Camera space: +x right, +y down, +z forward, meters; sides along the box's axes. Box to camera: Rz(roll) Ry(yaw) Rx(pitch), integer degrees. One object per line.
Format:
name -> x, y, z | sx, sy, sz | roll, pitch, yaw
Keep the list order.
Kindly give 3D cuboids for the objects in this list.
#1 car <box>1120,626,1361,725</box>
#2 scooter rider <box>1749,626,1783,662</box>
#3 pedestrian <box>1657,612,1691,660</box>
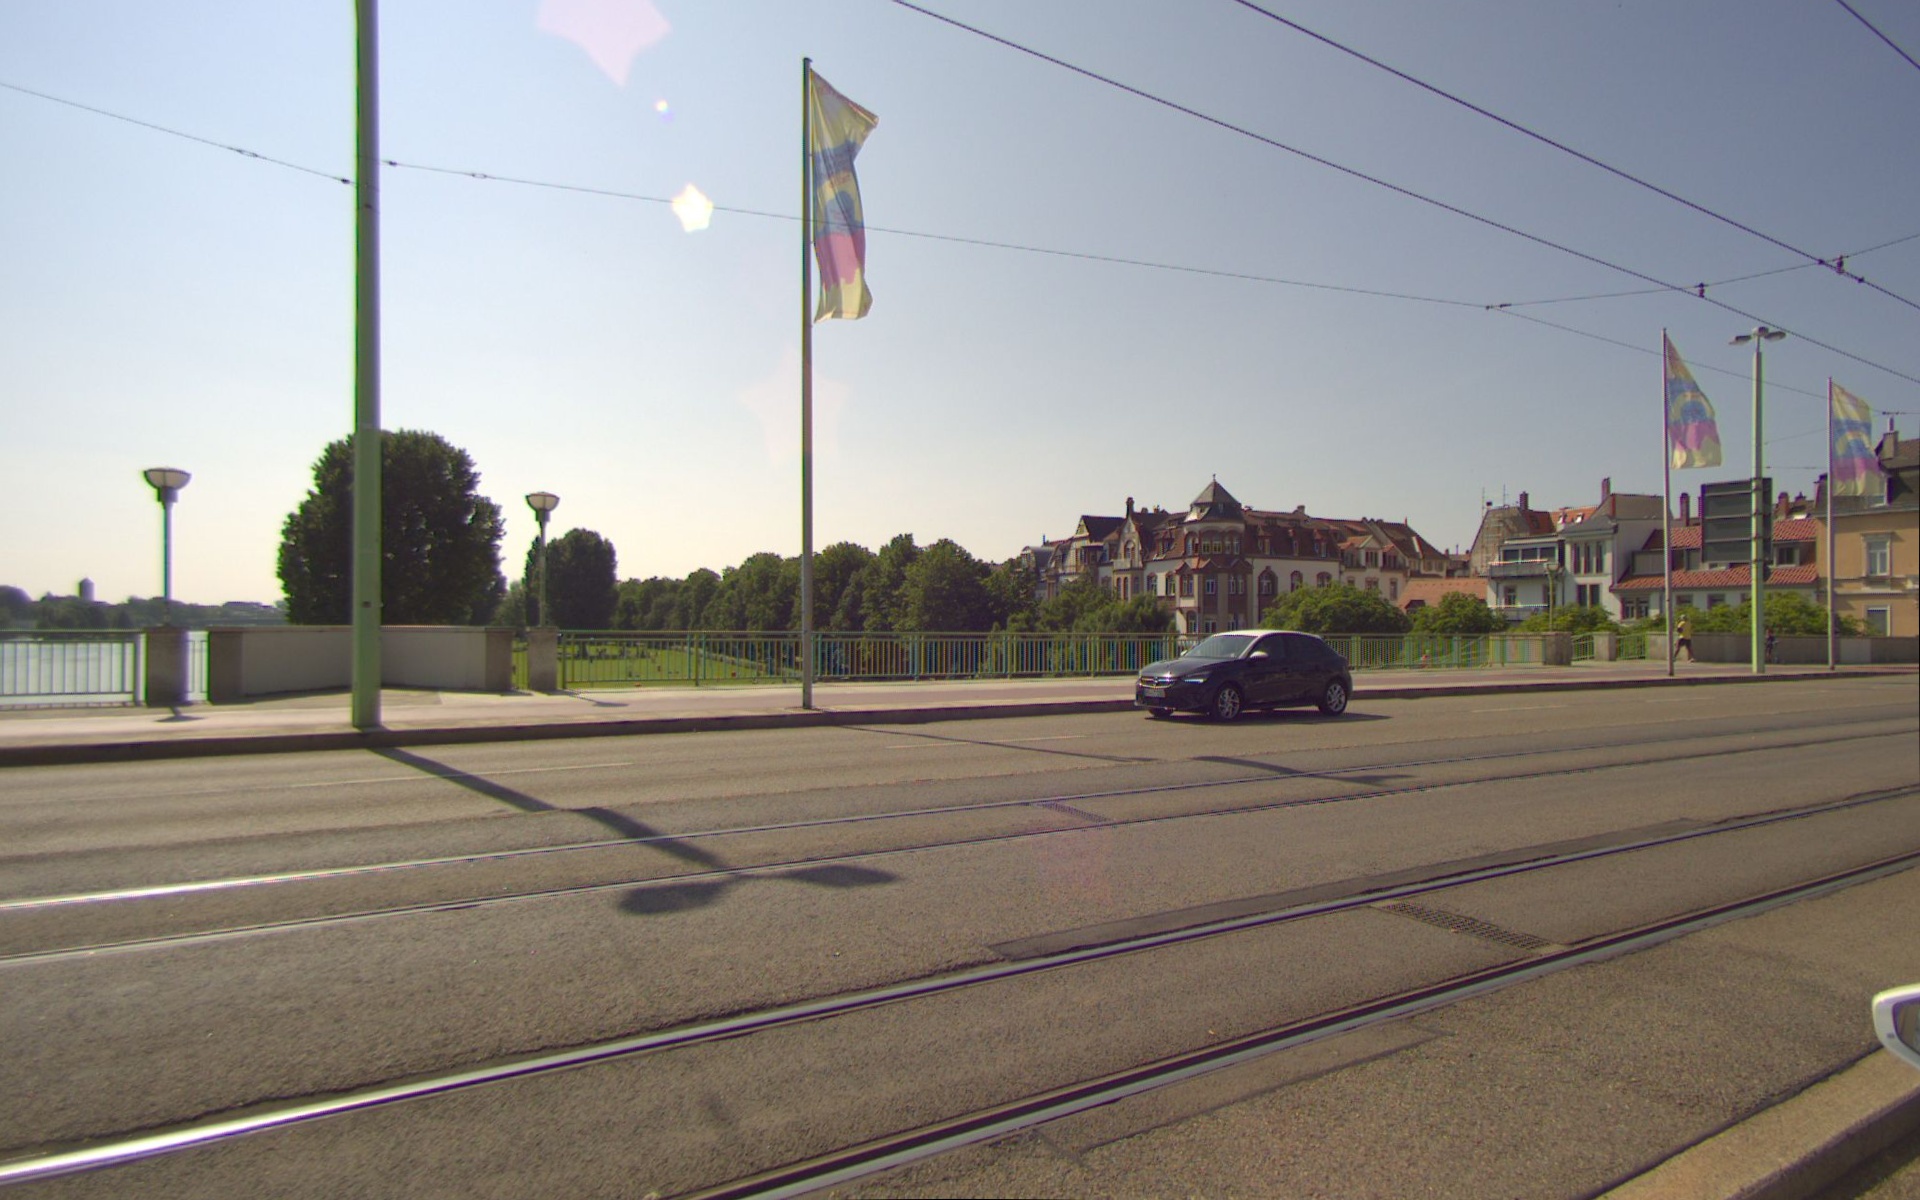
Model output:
car -> 4.721, 1.195, 16.804 | 3.856, 1.473, 1.708 | 1, -2, -30
scooter rider -> 31.729, 1.737, 39.539 | 0.589, 1.333, 0.767 | 2, 3, -18
pedestrian -> 27.205, 1.373, 38.288 | 0.790, 1.804, 0.743 | 1, -2, -24
